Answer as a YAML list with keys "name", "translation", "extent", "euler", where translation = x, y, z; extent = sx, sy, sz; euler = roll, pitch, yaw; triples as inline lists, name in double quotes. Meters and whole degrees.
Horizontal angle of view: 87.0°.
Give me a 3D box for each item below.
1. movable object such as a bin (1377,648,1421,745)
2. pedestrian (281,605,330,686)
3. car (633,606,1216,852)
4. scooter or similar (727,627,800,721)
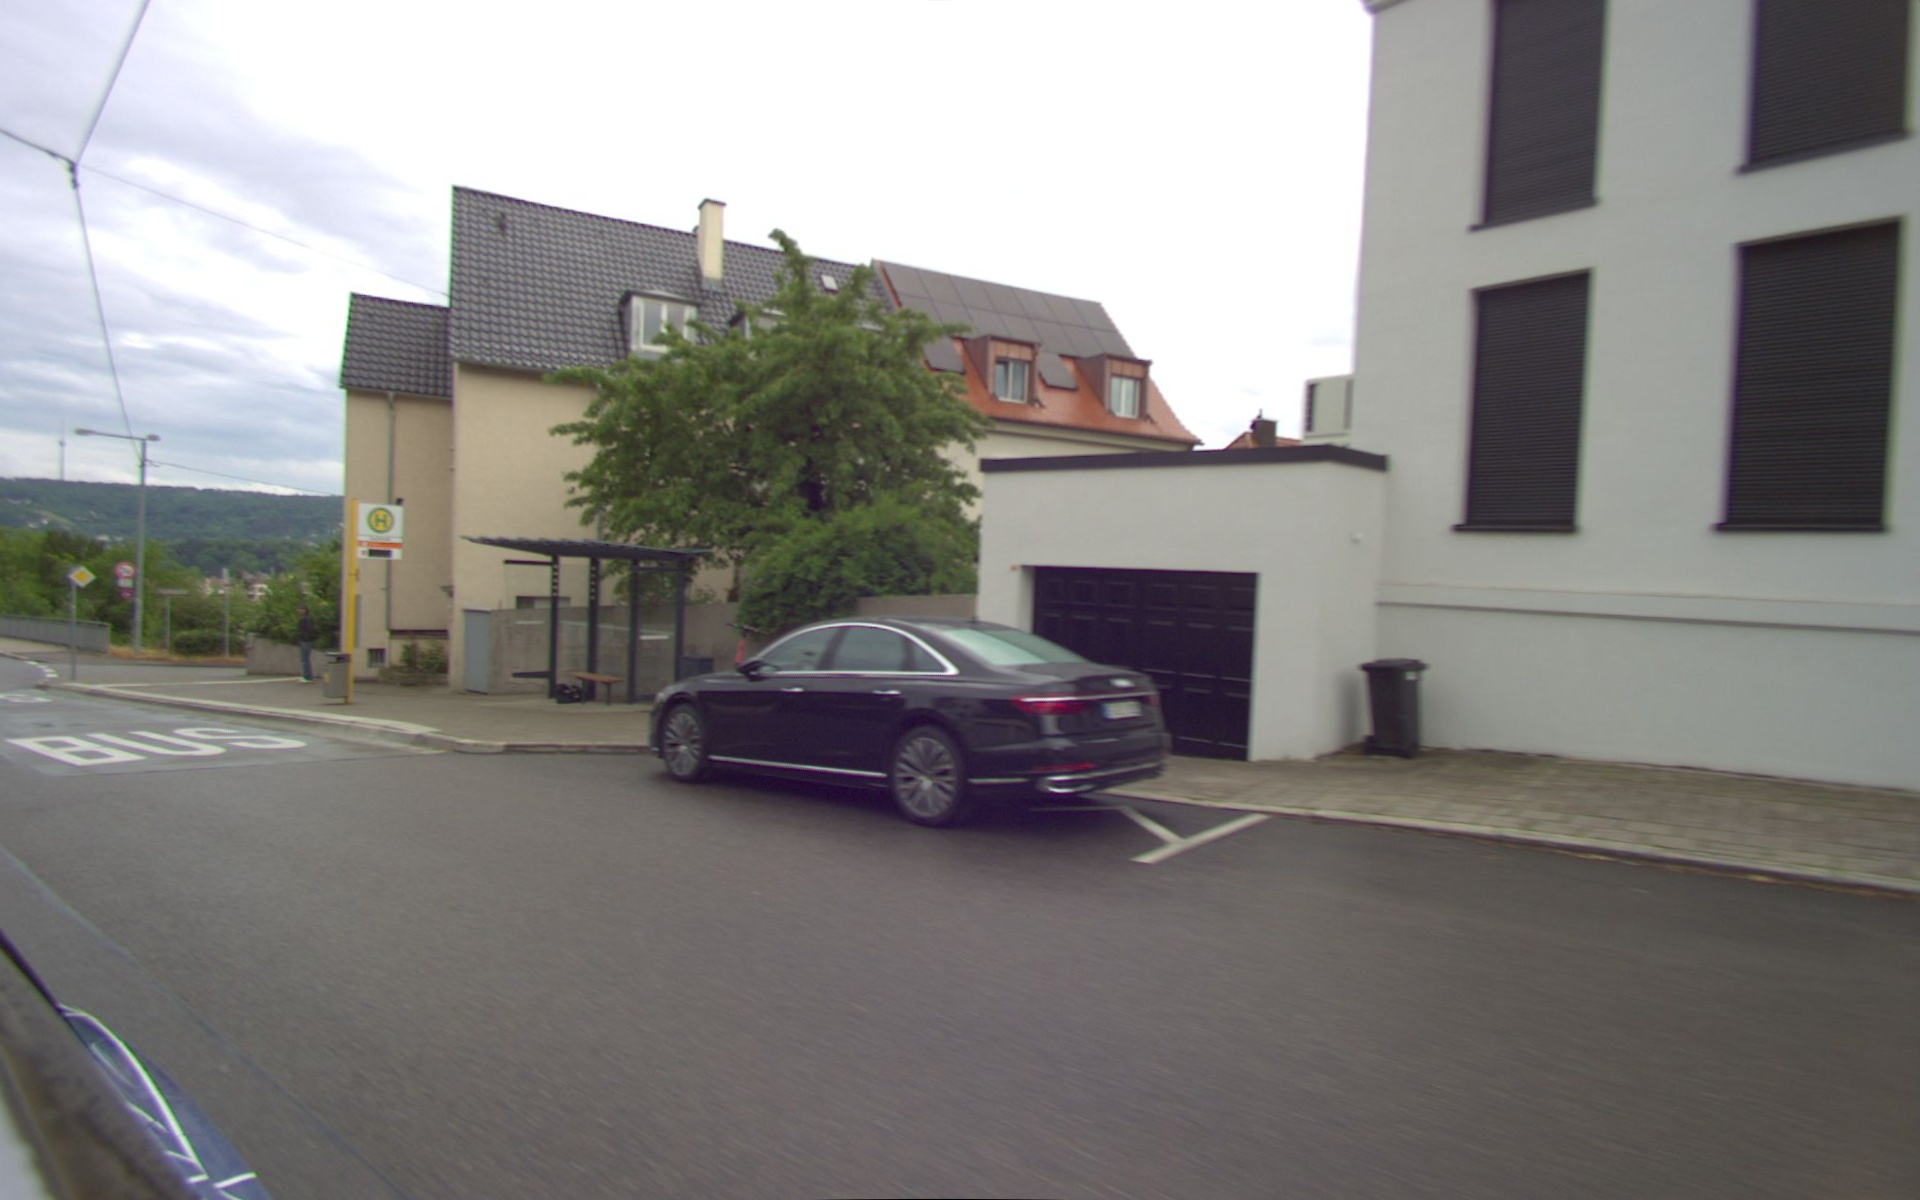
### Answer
- name: "movable object such as a bin"
  translation: [4.319, 0.938, 9.946]
  extent: [0.283, 0.919, 0.366]
  euler: [-1, -3, 44]
- name: "pedestrian"
  translation: [-15.502, 1.060, 23.981]
  extent: [0.727, 1.871, 0.779]
  euler: [-1, 0, 39]
- name: "car"
  translation: [-0.566, 0.850, 8.496]
  extent: [4.987, 1.497, 1.810]
  euler: [-2, -2, 41]
- name: "scooter or similar"
  translation: [-2.695, 0.987, 13.847]
  extent: [1.122, 1.229, 0.334]
  euler: [-1, -1, 40]
